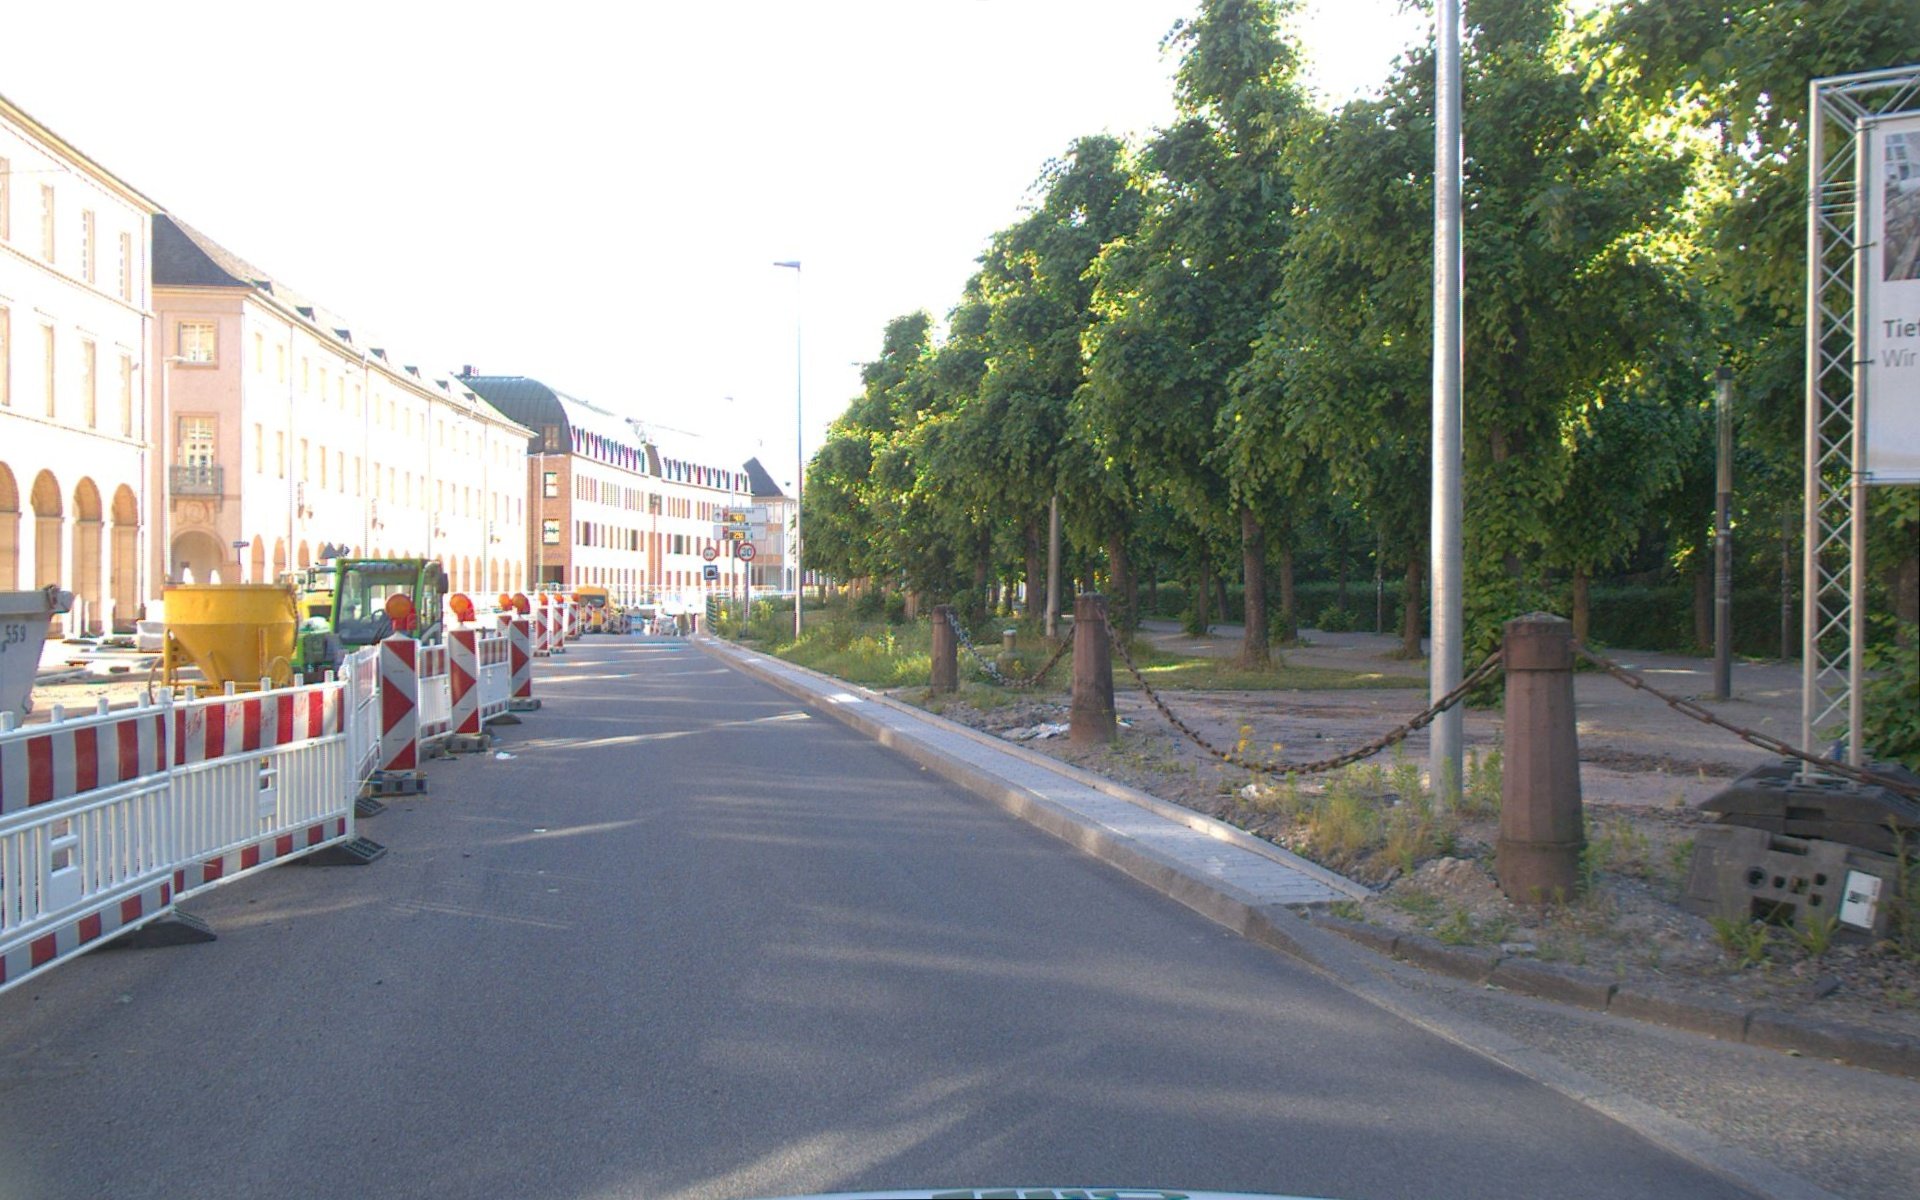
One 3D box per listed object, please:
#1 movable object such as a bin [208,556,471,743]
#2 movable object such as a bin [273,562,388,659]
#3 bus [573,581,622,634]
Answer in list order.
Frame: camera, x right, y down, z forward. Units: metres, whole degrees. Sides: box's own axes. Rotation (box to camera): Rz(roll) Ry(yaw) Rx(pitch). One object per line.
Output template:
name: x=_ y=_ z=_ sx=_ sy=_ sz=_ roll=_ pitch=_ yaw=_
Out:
movable object such as a bin: x=-7.219 y=0.464 z=19.736 sx=2.011 sy=1.983 sz=4.327 roll=0 pitch=1 yaw=-8
movable object such as a bin: x=-17.280 y=0.218 z=45.628 sx=2.036 sy=2.518 sz=4.607 roll=0 pitch=1 yaw=-9
bus: x=-19.466 y=0.435 z=88.942 sx=2.032 sy=2.734 sz=4.677 roll=0 pitch=-2 yaw=-5
